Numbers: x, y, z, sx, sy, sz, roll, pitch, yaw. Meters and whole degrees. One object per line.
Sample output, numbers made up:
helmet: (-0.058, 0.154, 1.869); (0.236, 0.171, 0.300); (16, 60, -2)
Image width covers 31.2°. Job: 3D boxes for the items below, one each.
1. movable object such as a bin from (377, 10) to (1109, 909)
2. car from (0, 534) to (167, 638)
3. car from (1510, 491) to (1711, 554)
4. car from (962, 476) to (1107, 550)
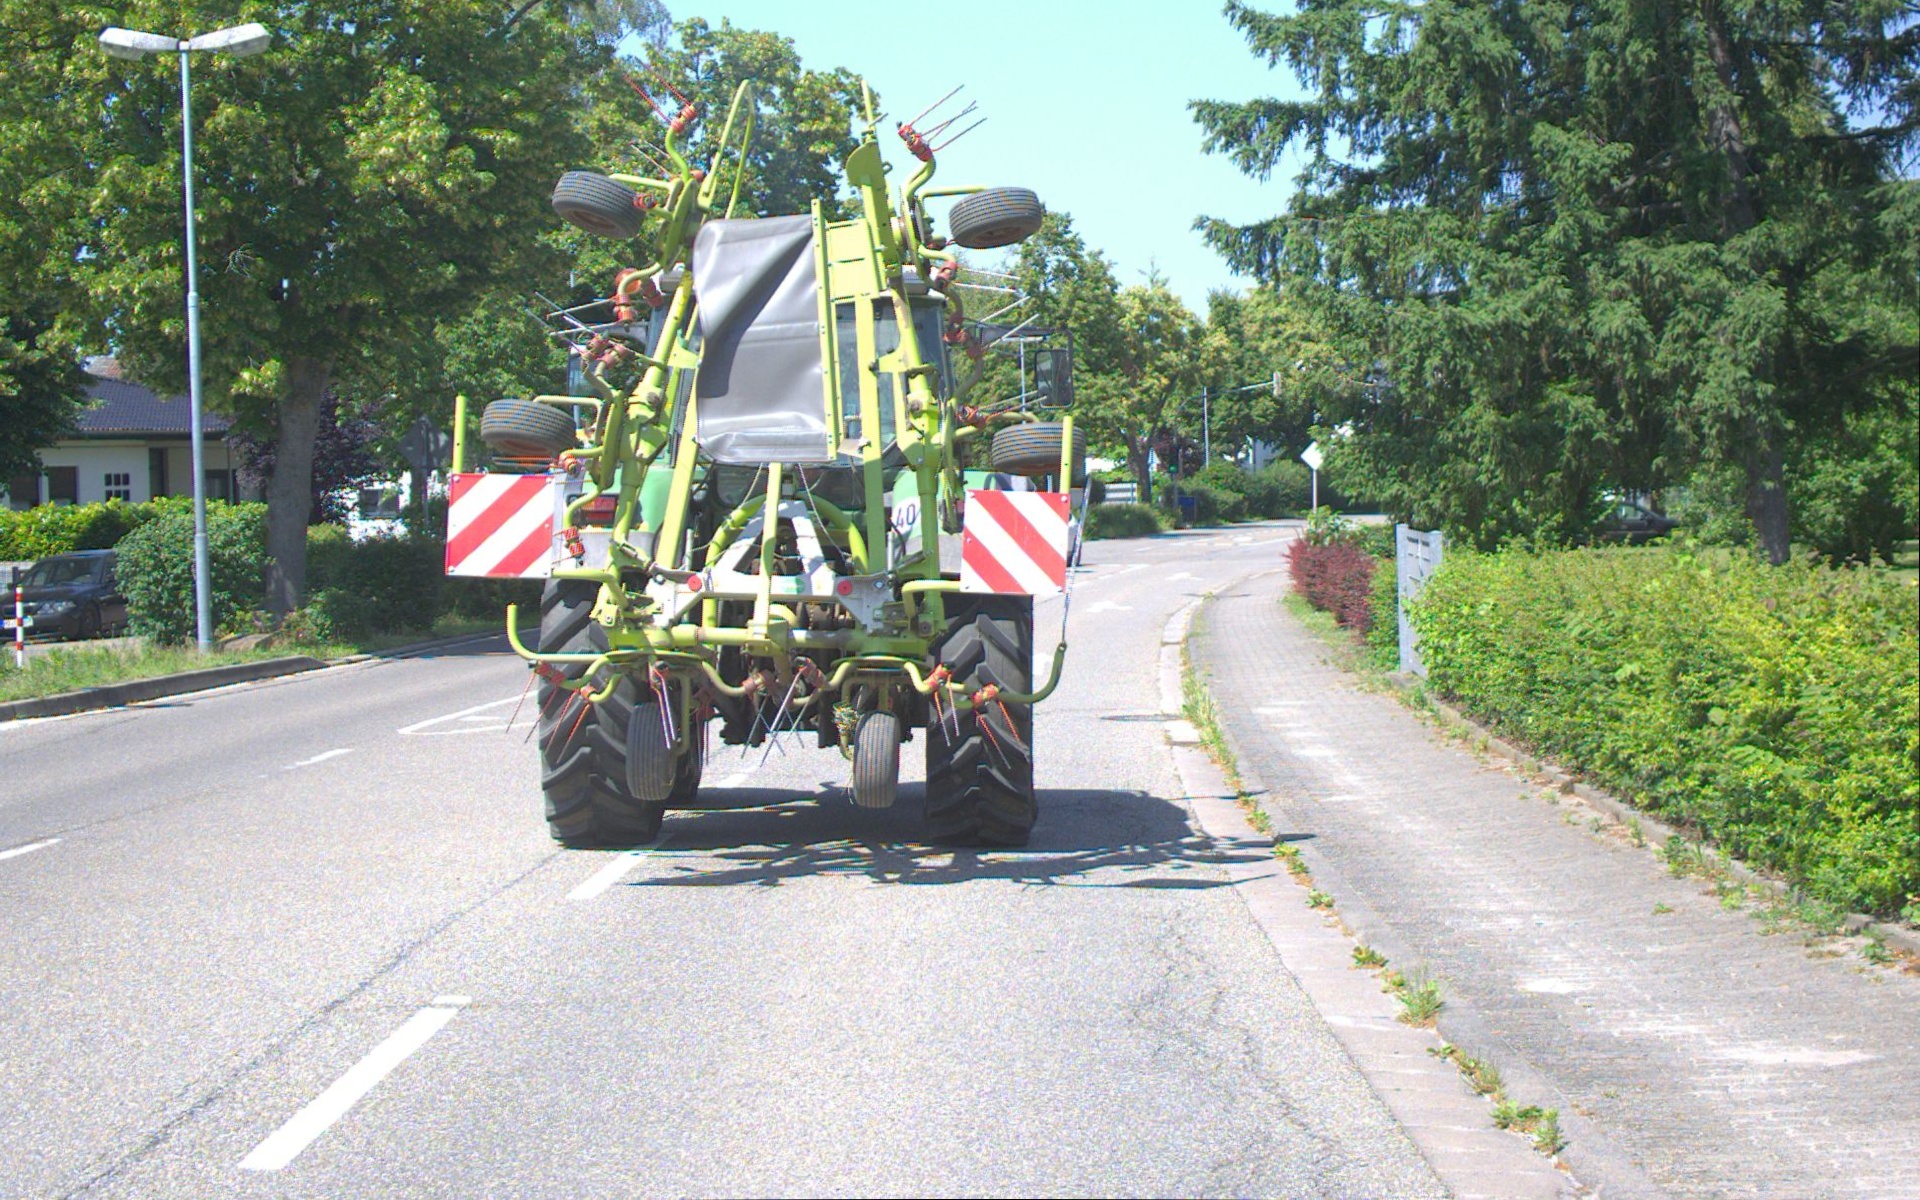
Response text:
movable object such as a bin: (-0.841, -0.658, 18.509); (2.853, 3.529, 9.701); (-1, 1, 0)
car: (-13.829, -0.240, 53.418); (1.689, 1.525, 3.999); (0, 1, 7)
car: (13.716, -1.642, 72.546); (3.810, 1.290, 1.684); (-1, 2, -11)
car: (1.827, -2.107, 83.062); (1.860, 1.709, 3.994); (0, 1, 29)
